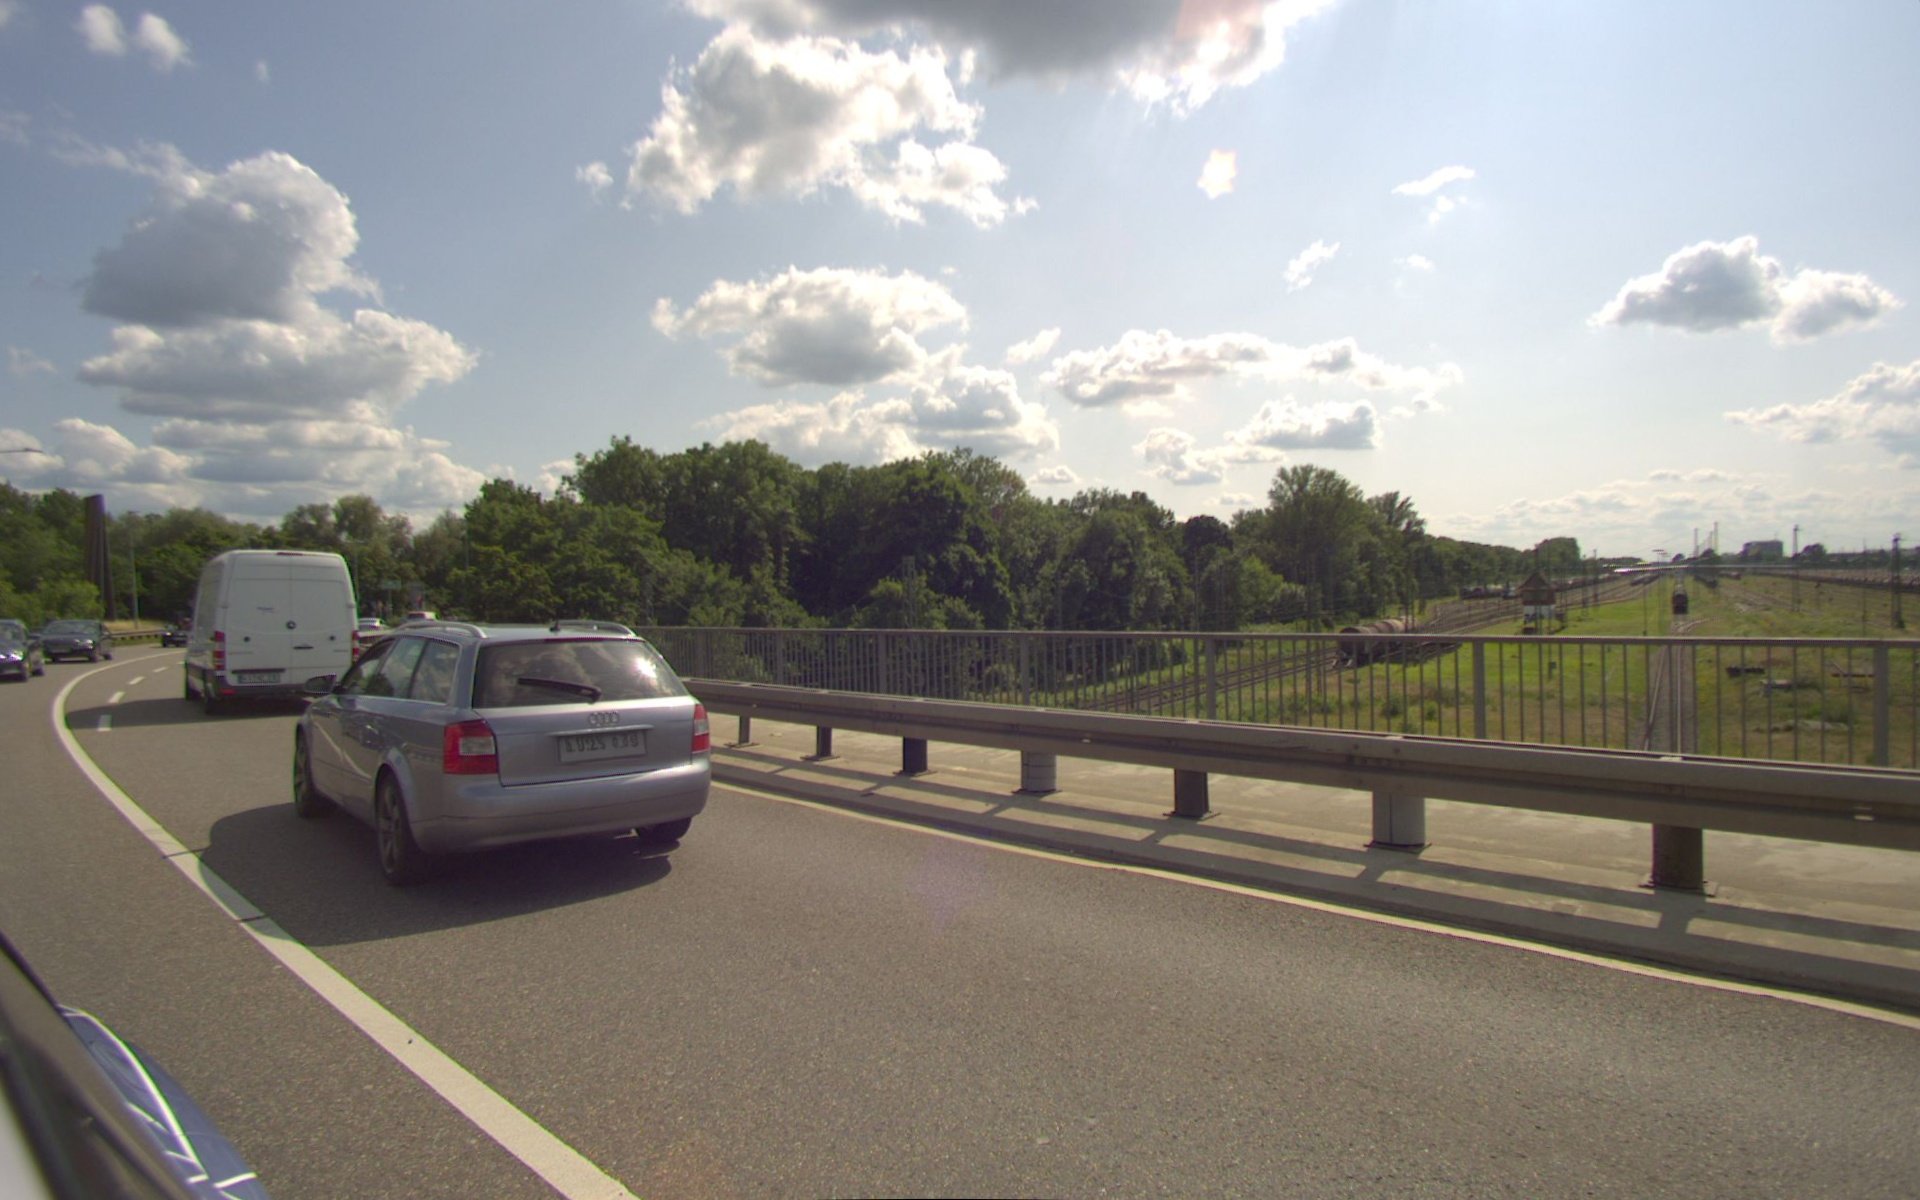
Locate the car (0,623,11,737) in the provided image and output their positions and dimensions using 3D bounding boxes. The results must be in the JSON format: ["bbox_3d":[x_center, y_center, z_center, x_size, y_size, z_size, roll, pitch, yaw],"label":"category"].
[{"bbox_3d":[-11.947,0.984,11.101,1.767,1.446,4.379,2,-2,-37],"label":"car"}]

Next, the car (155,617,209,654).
[{"bbox_3d":[-39.648,1.764,51.637,1.611,1.524,3.732,-3,3,-30],"label":"car"}]

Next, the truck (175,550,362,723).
[{"bbox_3d":[-12.257,0.590,17.721,1.969,2.527,5.955,1,-2,-41],"label":"truck"}]

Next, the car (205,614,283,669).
[{"bbox_3d":[-22.833,1.263,32.413,1.694,1.644,4.441,1,-1,-31],"label":"car"}]

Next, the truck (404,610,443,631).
[{"bbox_3d":[-50.374,1.936,95.128,1.934,1.927,5.384,0,-1,-13],"label":"truck"}]

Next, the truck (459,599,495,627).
[{"bbox_3d":[-48.553,1.363,101.832,1.967,2.641,6.119,1,-2,-13],"label":"truck"}]

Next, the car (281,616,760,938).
[{"bbox_3d":[-3.241,0.853,6.897,1.745,1.471,4.303,0,-1,-42],"label":"car"}]

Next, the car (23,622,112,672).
[{"bbox_3d":[-30.080,1.523,34.221,1.793,1.347,4.740,-3,2,-36],"label":"car"}]

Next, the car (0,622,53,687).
[{"bbox_3d":[-22.988,1.251,23.893,1.829,1.373,4.010,1,0,-34],"label":"car"}]

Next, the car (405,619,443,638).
[{"bbox_3d":[-43.684,2.319,82.613,1.724,1.460,4.348,0,-1,-14],"label":"car"}]
